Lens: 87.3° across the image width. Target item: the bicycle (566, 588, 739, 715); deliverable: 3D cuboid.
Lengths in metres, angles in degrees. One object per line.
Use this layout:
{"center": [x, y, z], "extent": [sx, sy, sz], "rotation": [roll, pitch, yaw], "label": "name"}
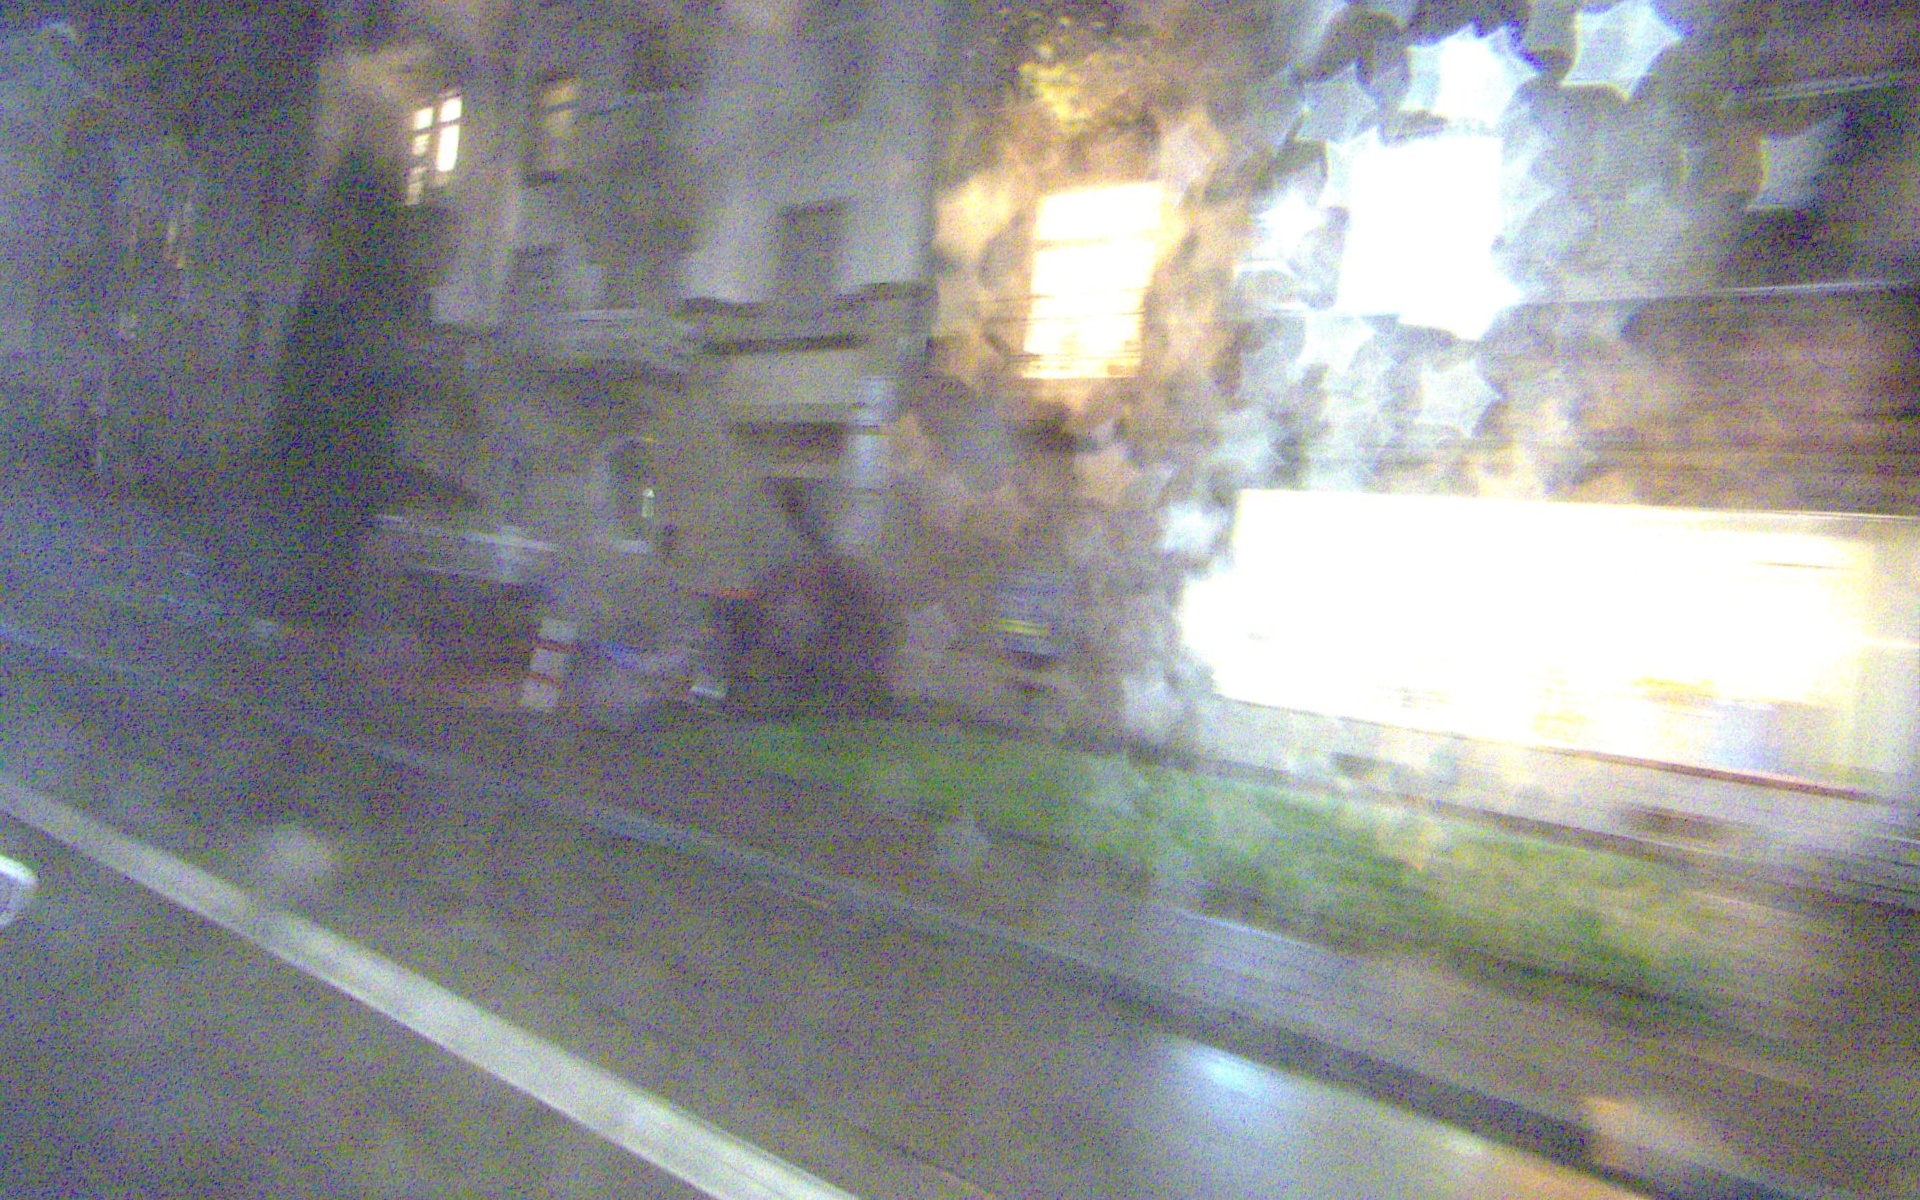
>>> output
{"center": [-3.164, 0.522, 10.524], "extent": [0.484, 1.179, 1.814], "rotation": [6, 2, 30], "label": "bicycle"}
